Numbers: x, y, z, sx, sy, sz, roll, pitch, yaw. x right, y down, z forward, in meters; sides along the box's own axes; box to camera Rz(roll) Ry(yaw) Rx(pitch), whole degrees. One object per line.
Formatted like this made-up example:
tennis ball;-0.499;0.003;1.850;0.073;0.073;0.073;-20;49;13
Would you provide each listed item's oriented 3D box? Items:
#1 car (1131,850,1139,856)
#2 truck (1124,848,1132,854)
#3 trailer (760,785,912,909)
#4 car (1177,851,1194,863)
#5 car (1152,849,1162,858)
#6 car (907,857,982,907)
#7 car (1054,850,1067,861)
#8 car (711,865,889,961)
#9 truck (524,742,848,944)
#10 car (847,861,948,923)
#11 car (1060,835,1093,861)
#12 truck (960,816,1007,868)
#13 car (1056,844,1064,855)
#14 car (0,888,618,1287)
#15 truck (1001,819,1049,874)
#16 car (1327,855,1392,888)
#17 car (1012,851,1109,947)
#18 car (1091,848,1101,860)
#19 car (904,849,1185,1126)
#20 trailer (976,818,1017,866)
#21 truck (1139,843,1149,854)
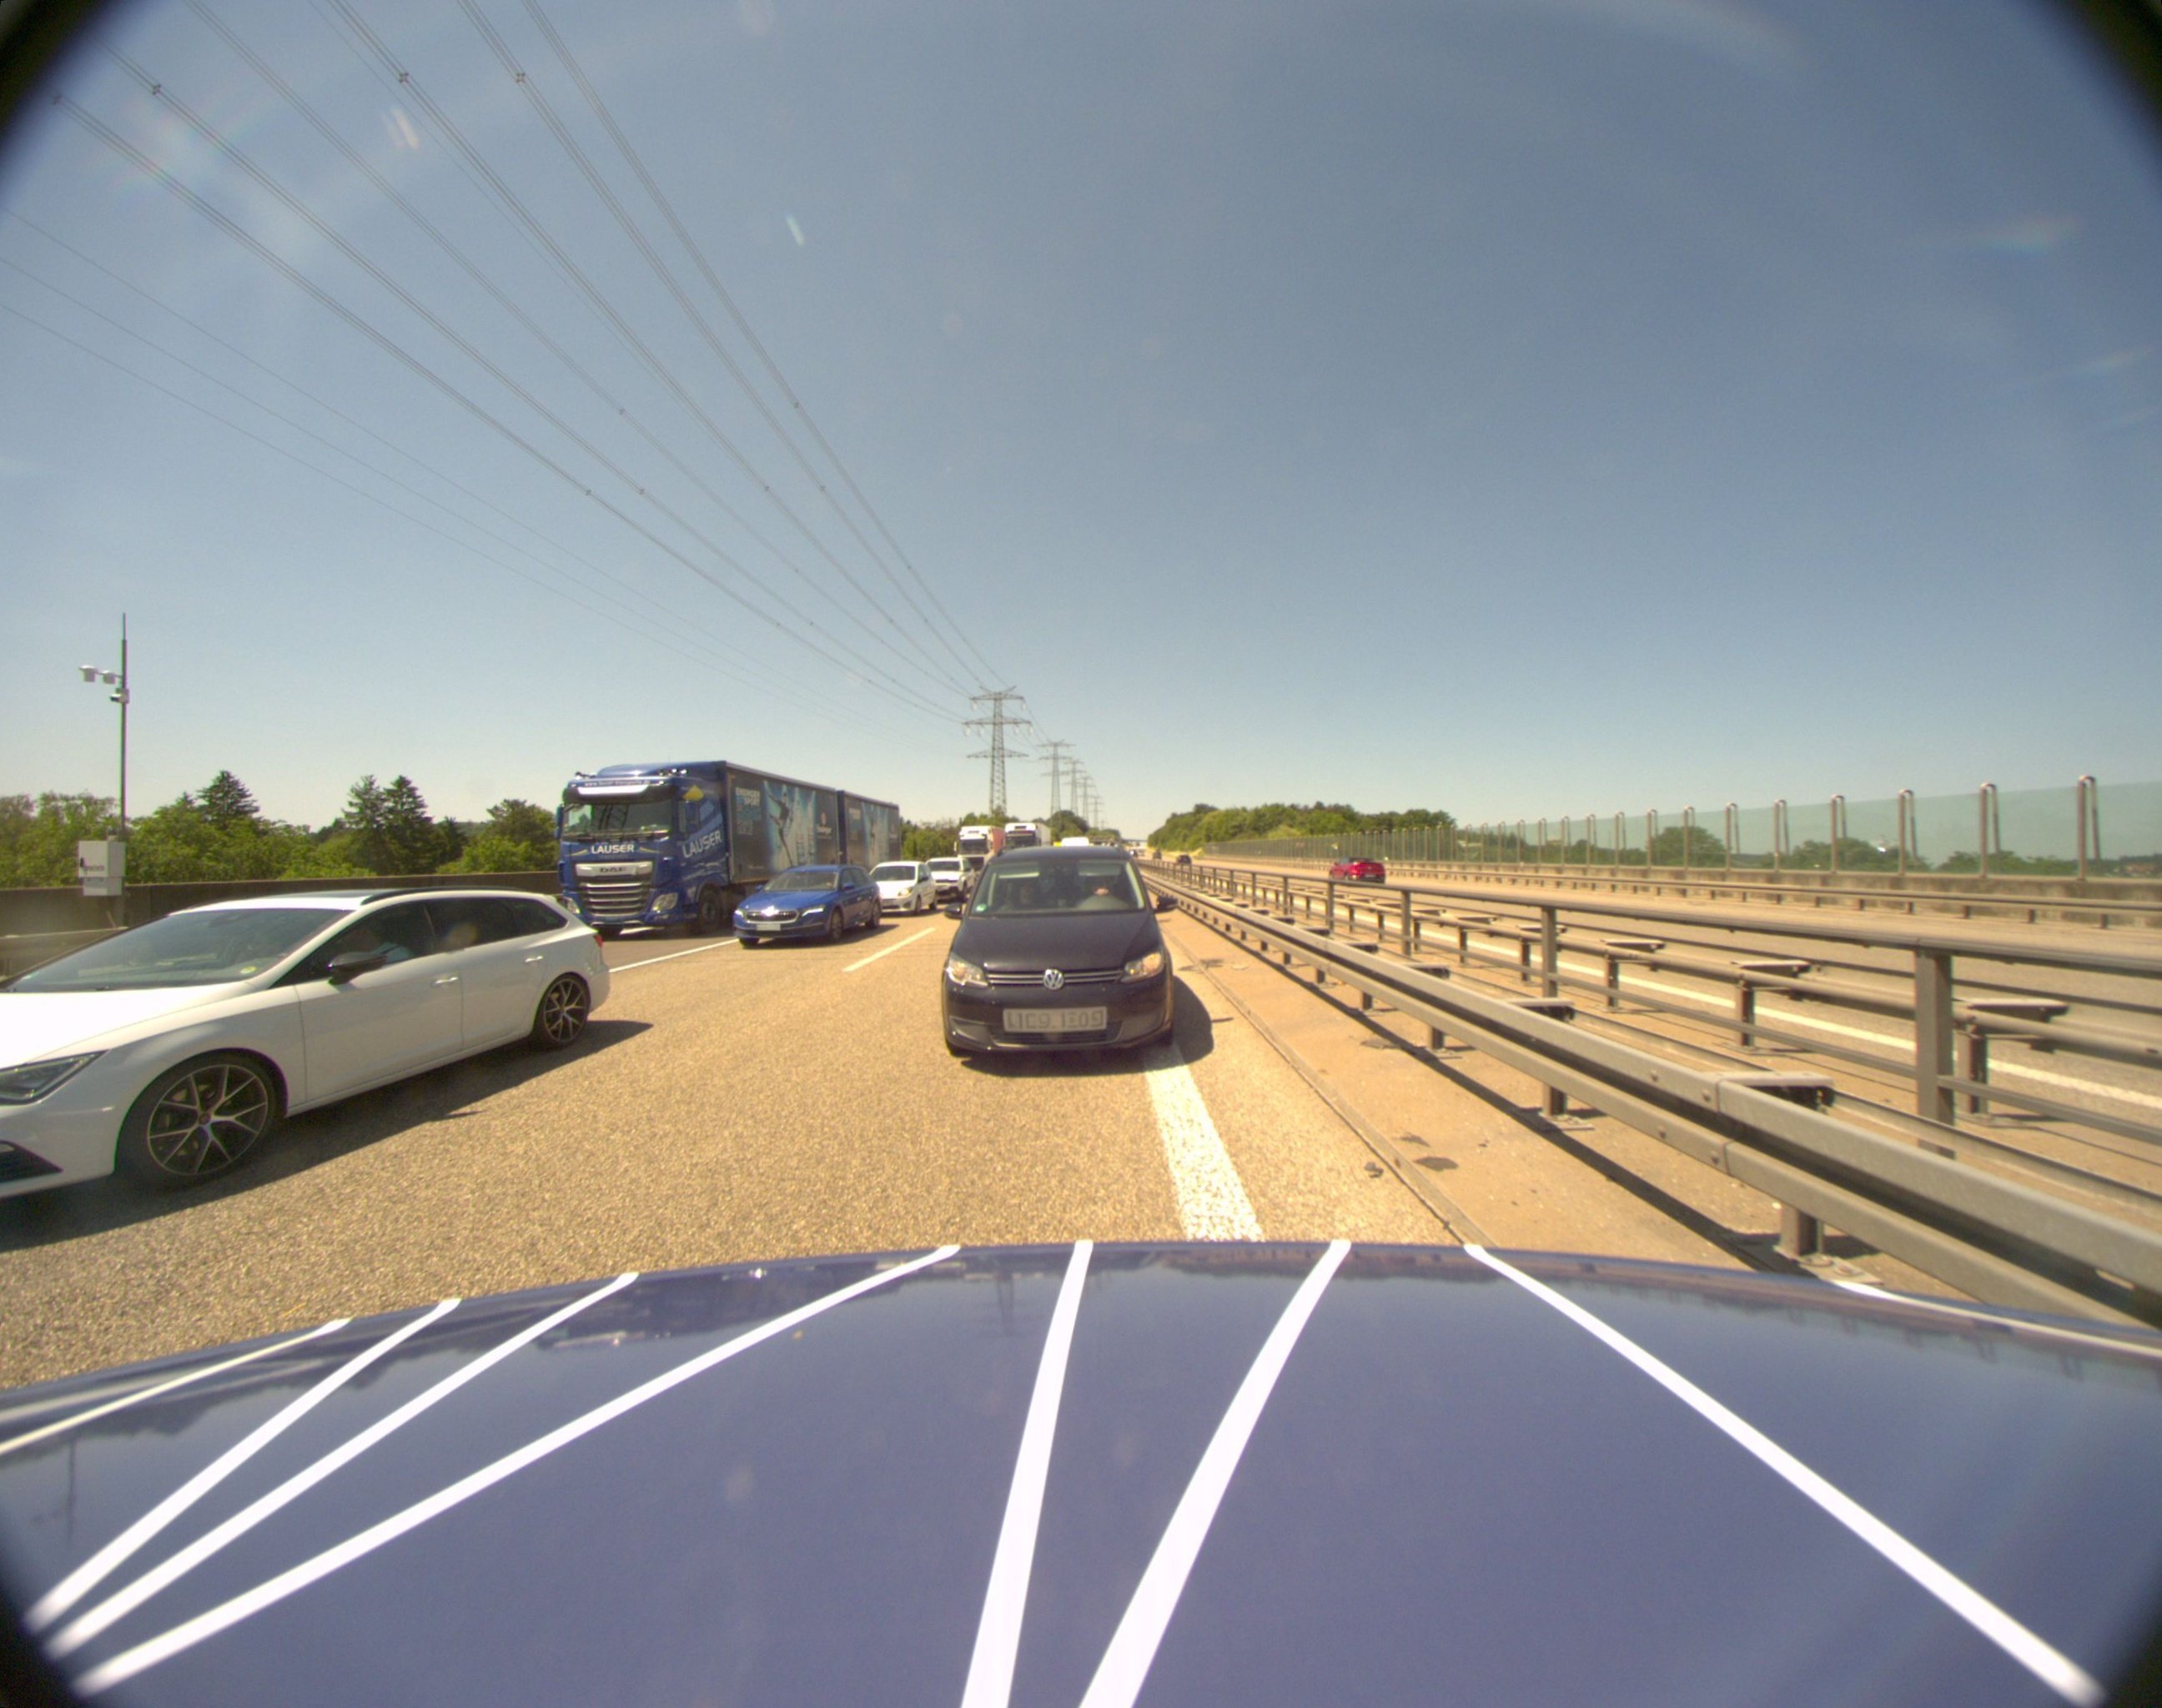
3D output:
car;13.373;-0.314;188.100;1.704;1.412;4.000;2;1;1
truck;15.101;-0.984;242.280;2.295;1.807;5.279;2;1;1
trailer;-9.222;-0.293;29.919;2.835;4.065;8.637;-2;1;1
car;13.261;0.409;96.869;1.704;1.412;4.000;2;1;1
car;15.903;-0.092;159.257;1.832;1.629;4.000;2;1;1
car;-4.661;0.904;26.516;1.712;1.501;4.144;-2;1;2
car;-2.836;0.239;105.932;1.704;1.412;4.000;2;1;1
car;-5.344;1.038;15.176;1.712;1.443;4.563;-2;1;2
truck;-9.477;-0.280;20.365;2.859;3.927;10.393;-2;1;2
car;-5.064;0.987;21.551;1.712;1.443;4.144;-2;1;2
car;-0.235;-0.381;48.011;1.924;1.501;3.996;-2;1;2
truck;-7.921;-0.983;62.651;2.608;3.964;8.263;-2;1;0
car;-4.978;-1.123;182.993;1.704;2.525;4.000;2;1;1
car;-5.246;1.065;4.921;1.713;1.443;4.429;-2;0;0
truck;-4.163;-0.604;58.184;2.849;3.804;8.263;-2;1;0
car;13.722;0.827;37.630;1.786;1.412;4.000;2;1;1
car;-0.341;0.814;15.805;1.712;1.669;3.931;-2;1;1
car;2.758;-0.056;137.593;1.704;2.116;4.000;-2;1;1
car;-0.203;0.835;6.765;1.712;1.669;3.931;-2;1;1
trailer;-7.838;-1.094;71.366;2.608;4.094;9.084;-2;1;0
truck;19.492;-1.855;235.643;2.638;3.295;6.075;2;1;1
